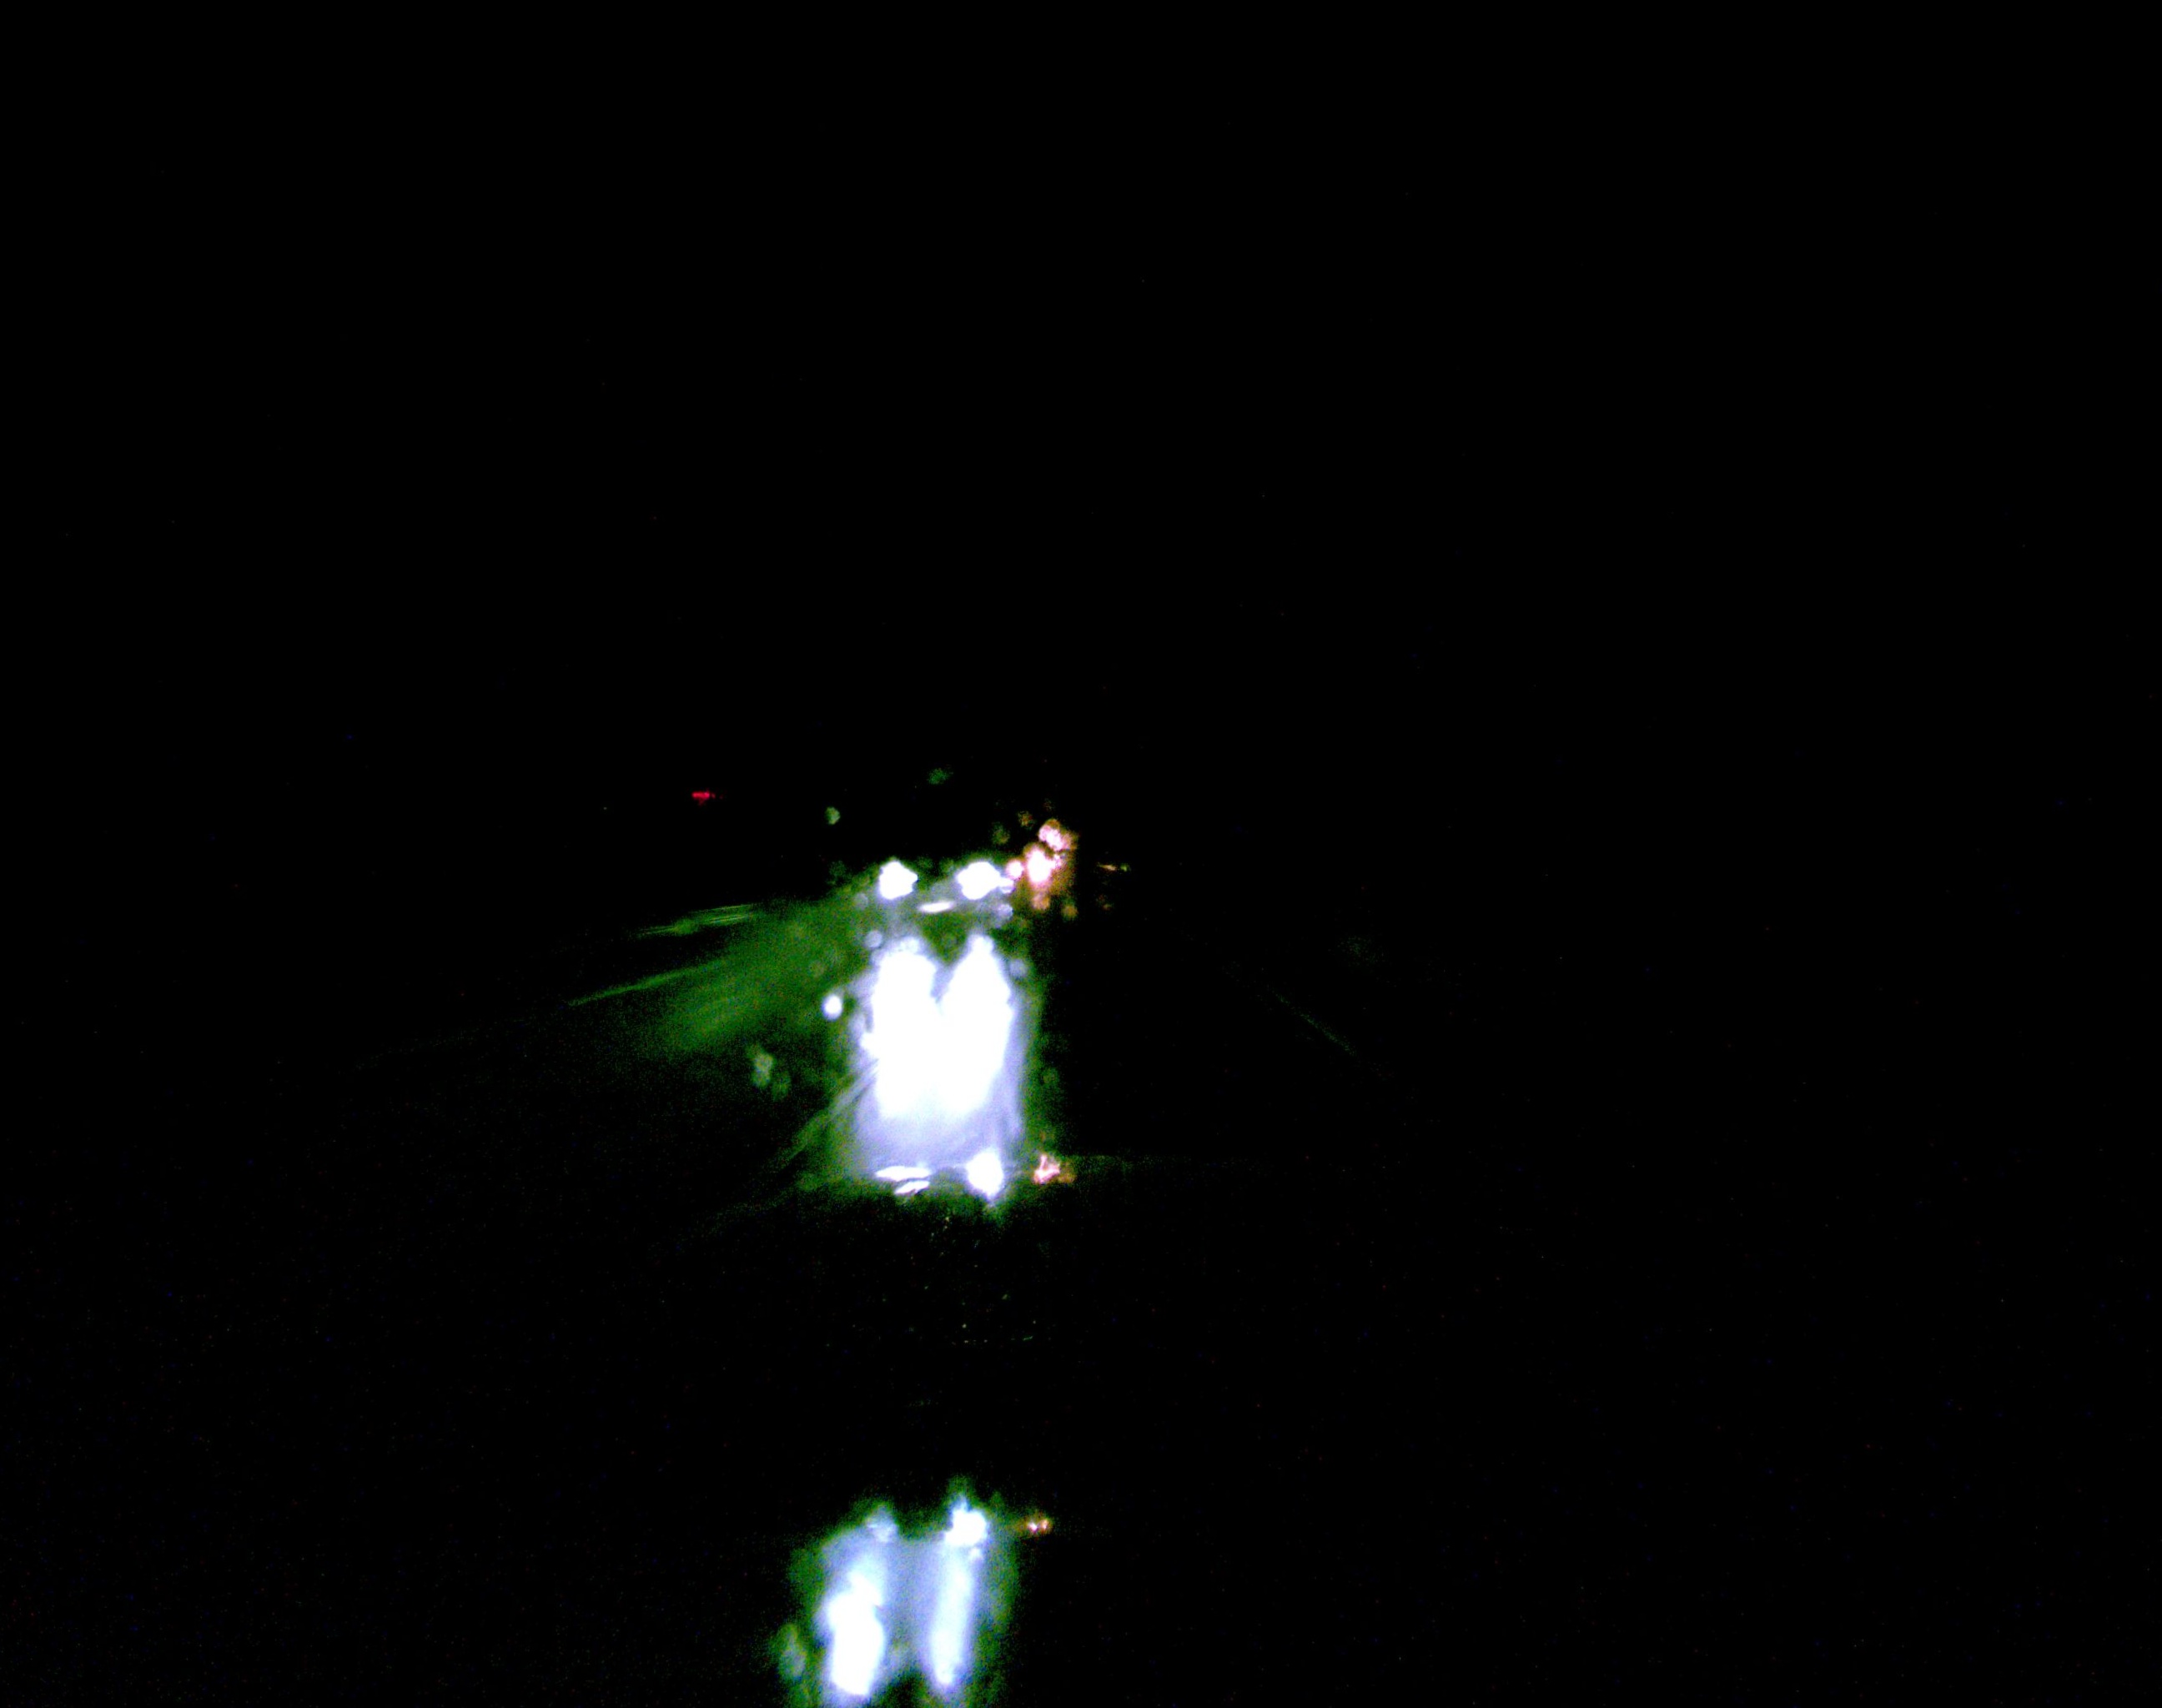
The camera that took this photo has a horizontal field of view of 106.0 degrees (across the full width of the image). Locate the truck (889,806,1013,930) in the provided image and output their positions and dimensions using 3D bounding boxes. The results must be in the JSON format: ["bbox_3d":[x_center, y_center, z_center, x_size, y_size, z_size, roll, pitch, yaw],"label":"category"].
[{"bbox_3d":[-2.900,0.288,19.405,2.131,2.535,5.277,0,0,-1],"label":"truck"}]

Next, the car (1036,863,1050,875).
[{"bbox_3d":[-5.433,2.119,116.911,1.916,1.646,4.021,-1,0,-3],"label":"car"}]
